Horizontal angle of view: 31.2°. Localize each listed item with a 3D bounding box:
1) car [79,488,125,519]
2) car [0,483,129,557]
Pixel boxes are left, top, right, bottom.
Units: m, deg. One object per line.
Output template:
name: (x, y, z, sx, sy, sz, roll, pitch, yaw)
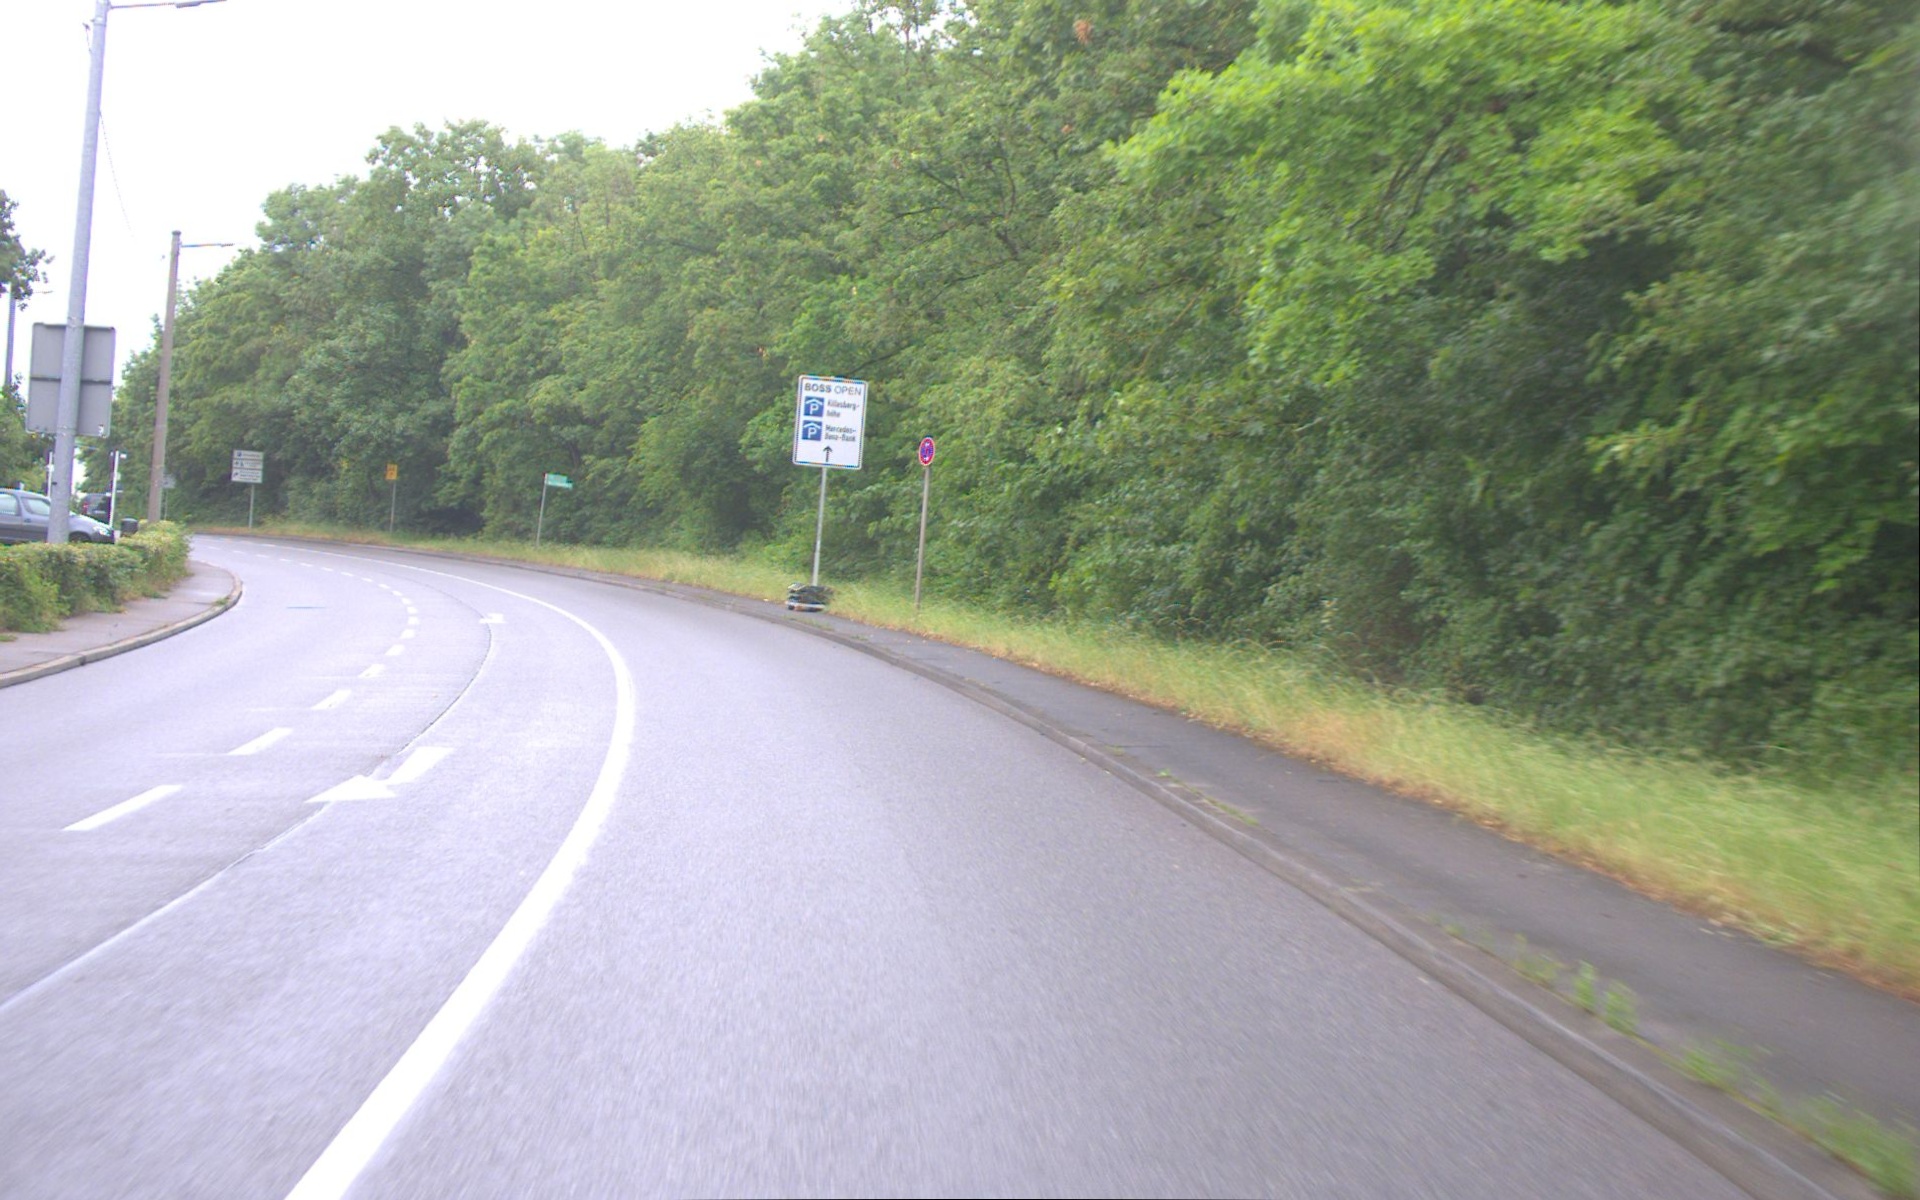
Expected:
car: (-44.487, -4.998, 178.153, 1.934, 1.493, 4.319, 2, 1, -18)
car: (-23.193, -2.035, 86.373, 4.289, 1.702, 2.001, 2, 1, -10)
